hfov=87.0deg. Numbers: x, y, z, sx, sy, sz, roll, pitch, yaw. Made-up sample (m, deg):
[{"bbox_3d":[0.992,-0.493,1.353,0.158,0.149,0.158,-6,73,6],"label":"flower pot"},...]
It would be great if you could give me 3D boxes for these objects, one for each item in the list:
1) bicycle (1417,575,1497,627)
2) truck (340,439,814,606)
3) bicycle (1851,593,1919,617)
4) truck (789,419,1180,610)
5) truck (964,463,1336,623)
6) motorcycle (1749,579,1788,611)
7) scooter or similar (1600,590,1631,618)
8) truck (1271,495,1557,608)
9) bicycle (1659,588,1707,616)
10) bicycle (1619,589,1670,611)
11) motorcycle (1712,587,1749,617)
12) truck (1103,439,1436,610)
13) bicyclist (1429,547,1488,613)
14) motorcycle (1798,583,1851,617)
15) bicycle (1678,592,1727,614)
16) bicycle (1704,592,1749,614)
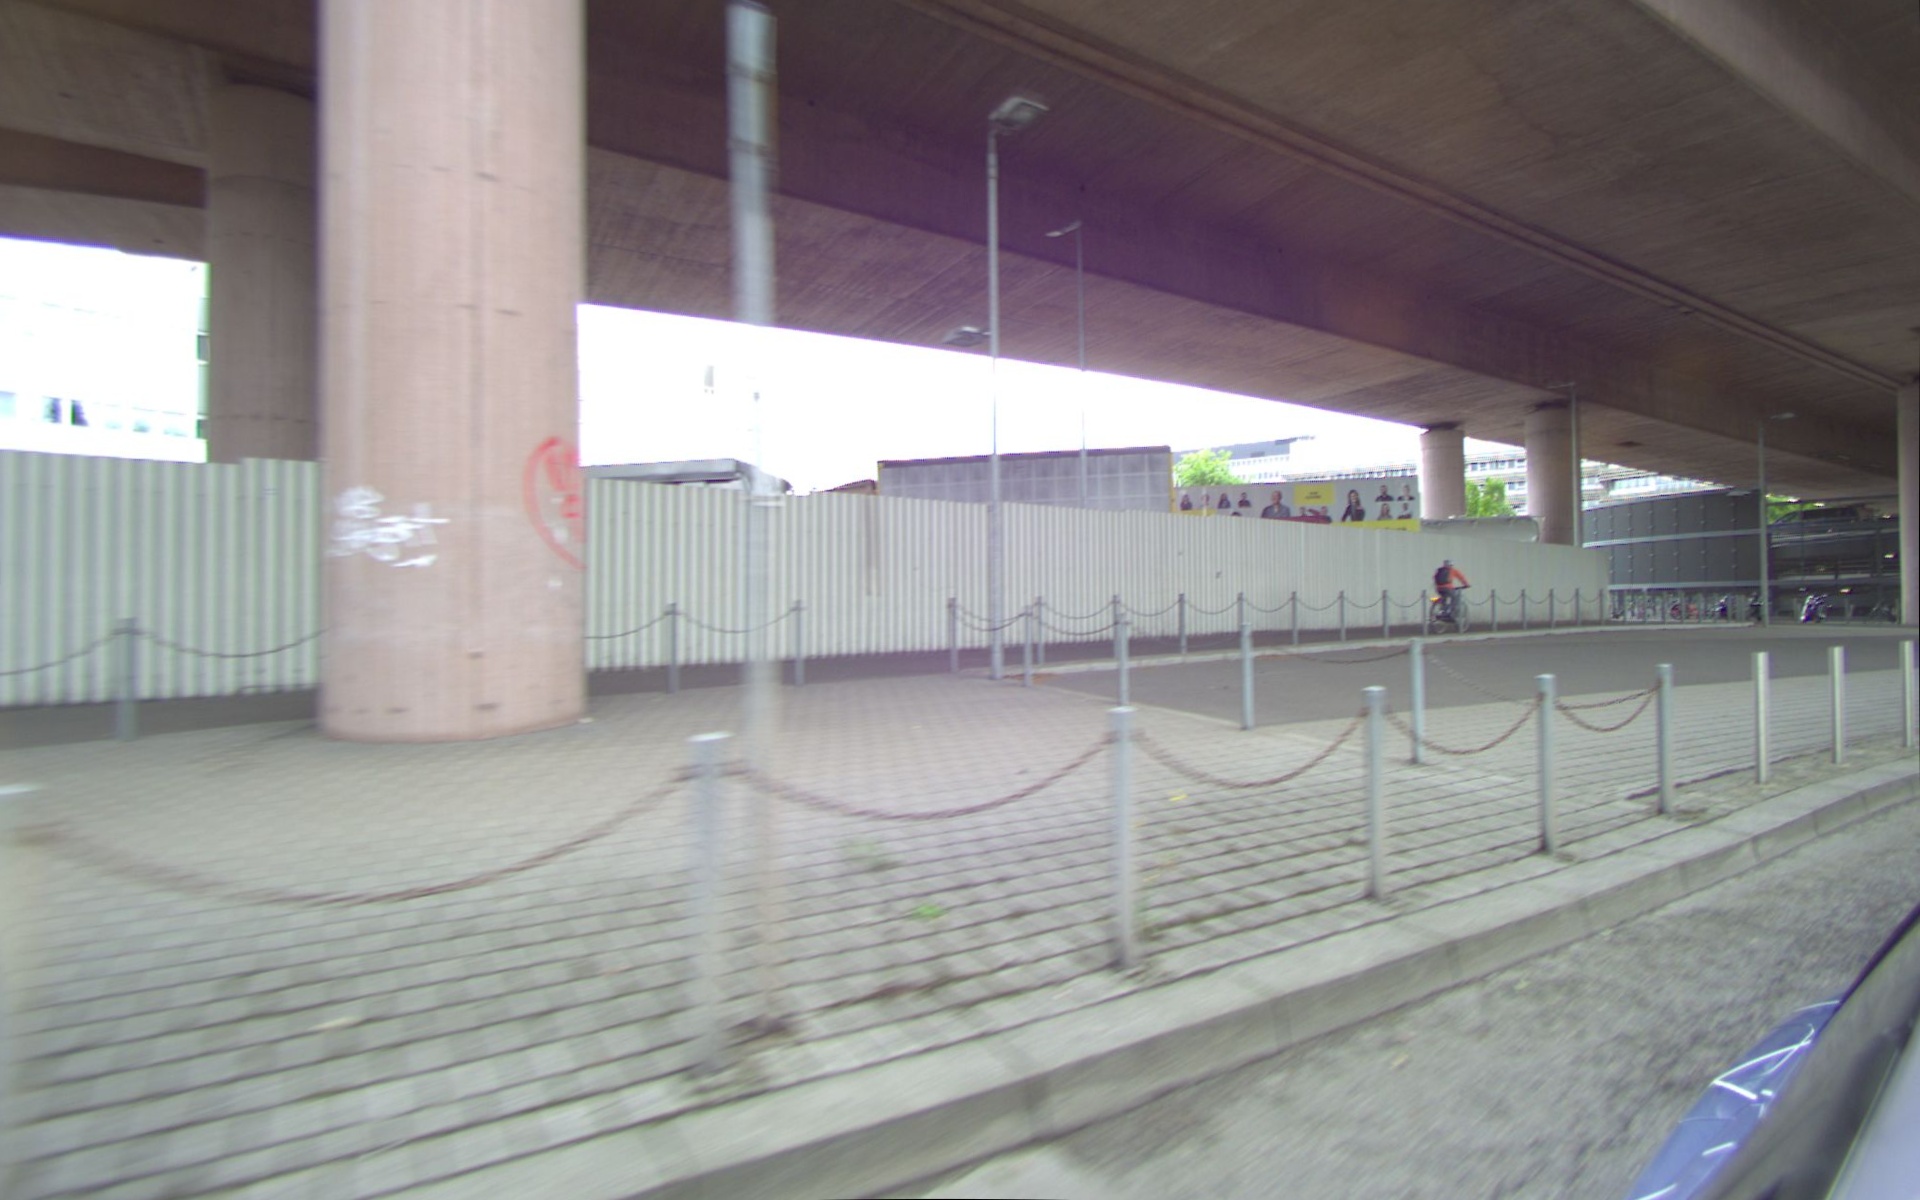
[{"bbox_3d":[11.085,0.005,22.537,2.093,1.111,0.804,-1,1,-39],"label":"bicycle"},{"bbox_3d":[-7.529,-1.584,20.373,8.578,2.979,3.140,2,3,11],"label":"truck"},{"bbox_3d":[37.407,0.217,40.943,0.412,0.938,2.015,2,-1,-42],"label":"bicycle"},{"bbox_3d":[0.662,-2.082,26.185,9.562,4.498,3.141,0,1,8],"label":"truck"},{"bbox_3d":[5.221,-1.564,28.911,9.901,4.235,2.891,0,1,10],"label":"truck"},{"bbox_3d":[32.535,-0.191,40.725,2.284,1.120,0.545,4,-3,-33],"label":"motorcycle"},{"bbox_3d":[31.051,0.184,47.948,0.535,1.234,1.675,2,-2,8],"label":"scooter or similar"},{"bbox_3d":[18.146,-1.920,41.178,10.128,4.357,3.005,0,1,10],"label":"truck"},{"bbox_3d":[31.510,0.115,44.125,0.610,1.120,2.325,3,-2,6],"label":"bicycle"},{"bbox_3d":[32.514,0.013,48.103,0.388,1.036,2.065,1,-1,-28],"label":"bicycle"},{"bbox_3d":[31.900,0.093,41.904,2.285,1.120,0.573,4,-3,-36],"label":"motorcycle"},{"bbox_3d":[9.343,-2.265,31.799,9.562,4.985,3.141,0,1,8],"label":"truck"},{"bbox_3d":[11.093,-0.441,22.532,1.047,1.423,0.798,0,1,-39],"label":"bicyclist"},{"bbox_3d":[33.506,-0.009,39.220,2.485,1.250,0.785,2,0,-30],"label":"motorcycle"},{"bbox_3d":[33.745,0.132,46.003,0.428,0.995,1.735,1,-1,-35],"label":"bicycle"},{"bbox_3d":[39.577,0.154,52.256,0.429,1.093,1.784,2,-1,-43],"label":"bicycle"}]
